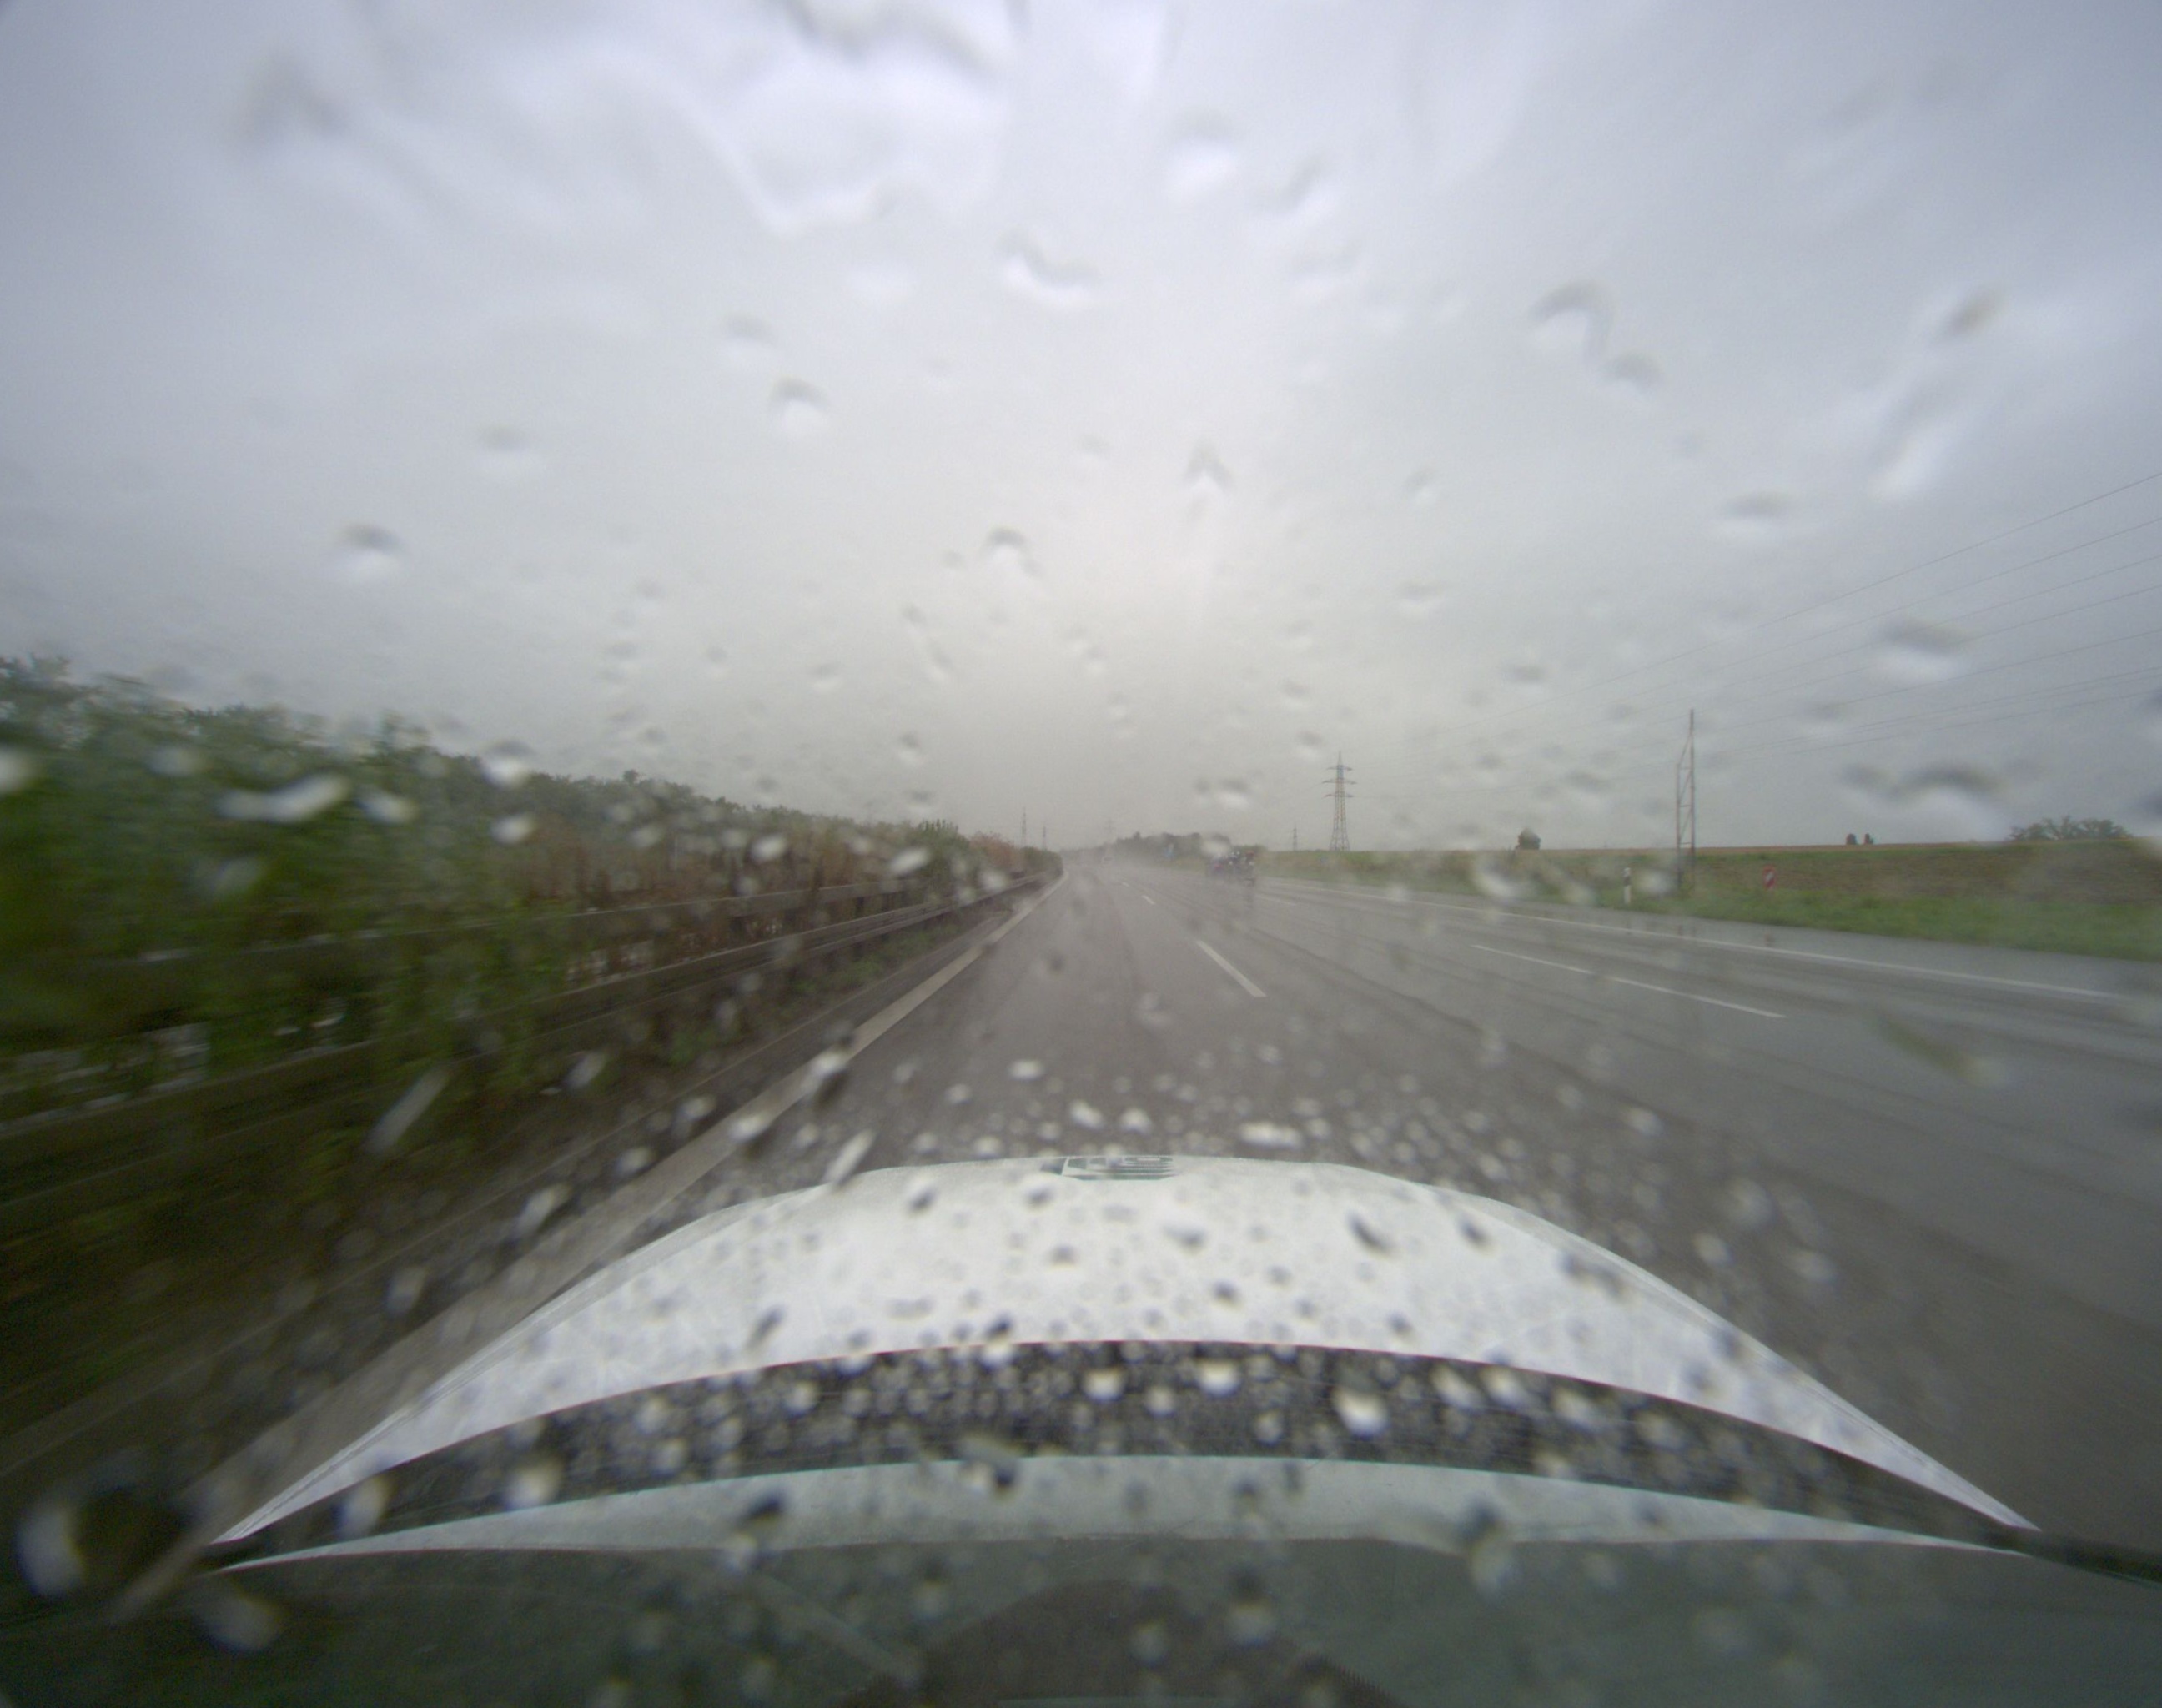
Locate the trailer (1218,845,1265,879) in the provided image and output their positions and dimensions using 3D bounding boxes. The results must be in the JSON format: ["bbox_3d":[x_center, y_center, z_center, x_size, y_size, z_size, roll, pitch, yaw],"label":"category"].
[{"bbox_3d":[8.809,0.438,44.878,1.972,1.785,3.188,-1,-1,0],"label":"trailer"}]

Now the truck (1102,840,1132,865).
[{"bbox_3d":[7.054,-0.216,161.279,4.181,4.630,16.081,-1,-1,-4],"label":"truck"}]

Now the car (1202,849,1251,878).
[{"bbox_3d":[8.658,0.616,48.966,1.987,1.619,4.990,-1,-1,-1],"label":"car"}]

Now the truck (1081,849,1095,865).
[{"bbox_3d":[1.972,0.927,231.905,3.225,4.311,8.827,-1,-1,-3],"label":"truck"}]

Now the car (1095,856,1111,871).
[{"bbox_3d":[3.103,1.352,115.554,1.987,2.014,3.998,-1,-1,-1],"label":"car"}]
